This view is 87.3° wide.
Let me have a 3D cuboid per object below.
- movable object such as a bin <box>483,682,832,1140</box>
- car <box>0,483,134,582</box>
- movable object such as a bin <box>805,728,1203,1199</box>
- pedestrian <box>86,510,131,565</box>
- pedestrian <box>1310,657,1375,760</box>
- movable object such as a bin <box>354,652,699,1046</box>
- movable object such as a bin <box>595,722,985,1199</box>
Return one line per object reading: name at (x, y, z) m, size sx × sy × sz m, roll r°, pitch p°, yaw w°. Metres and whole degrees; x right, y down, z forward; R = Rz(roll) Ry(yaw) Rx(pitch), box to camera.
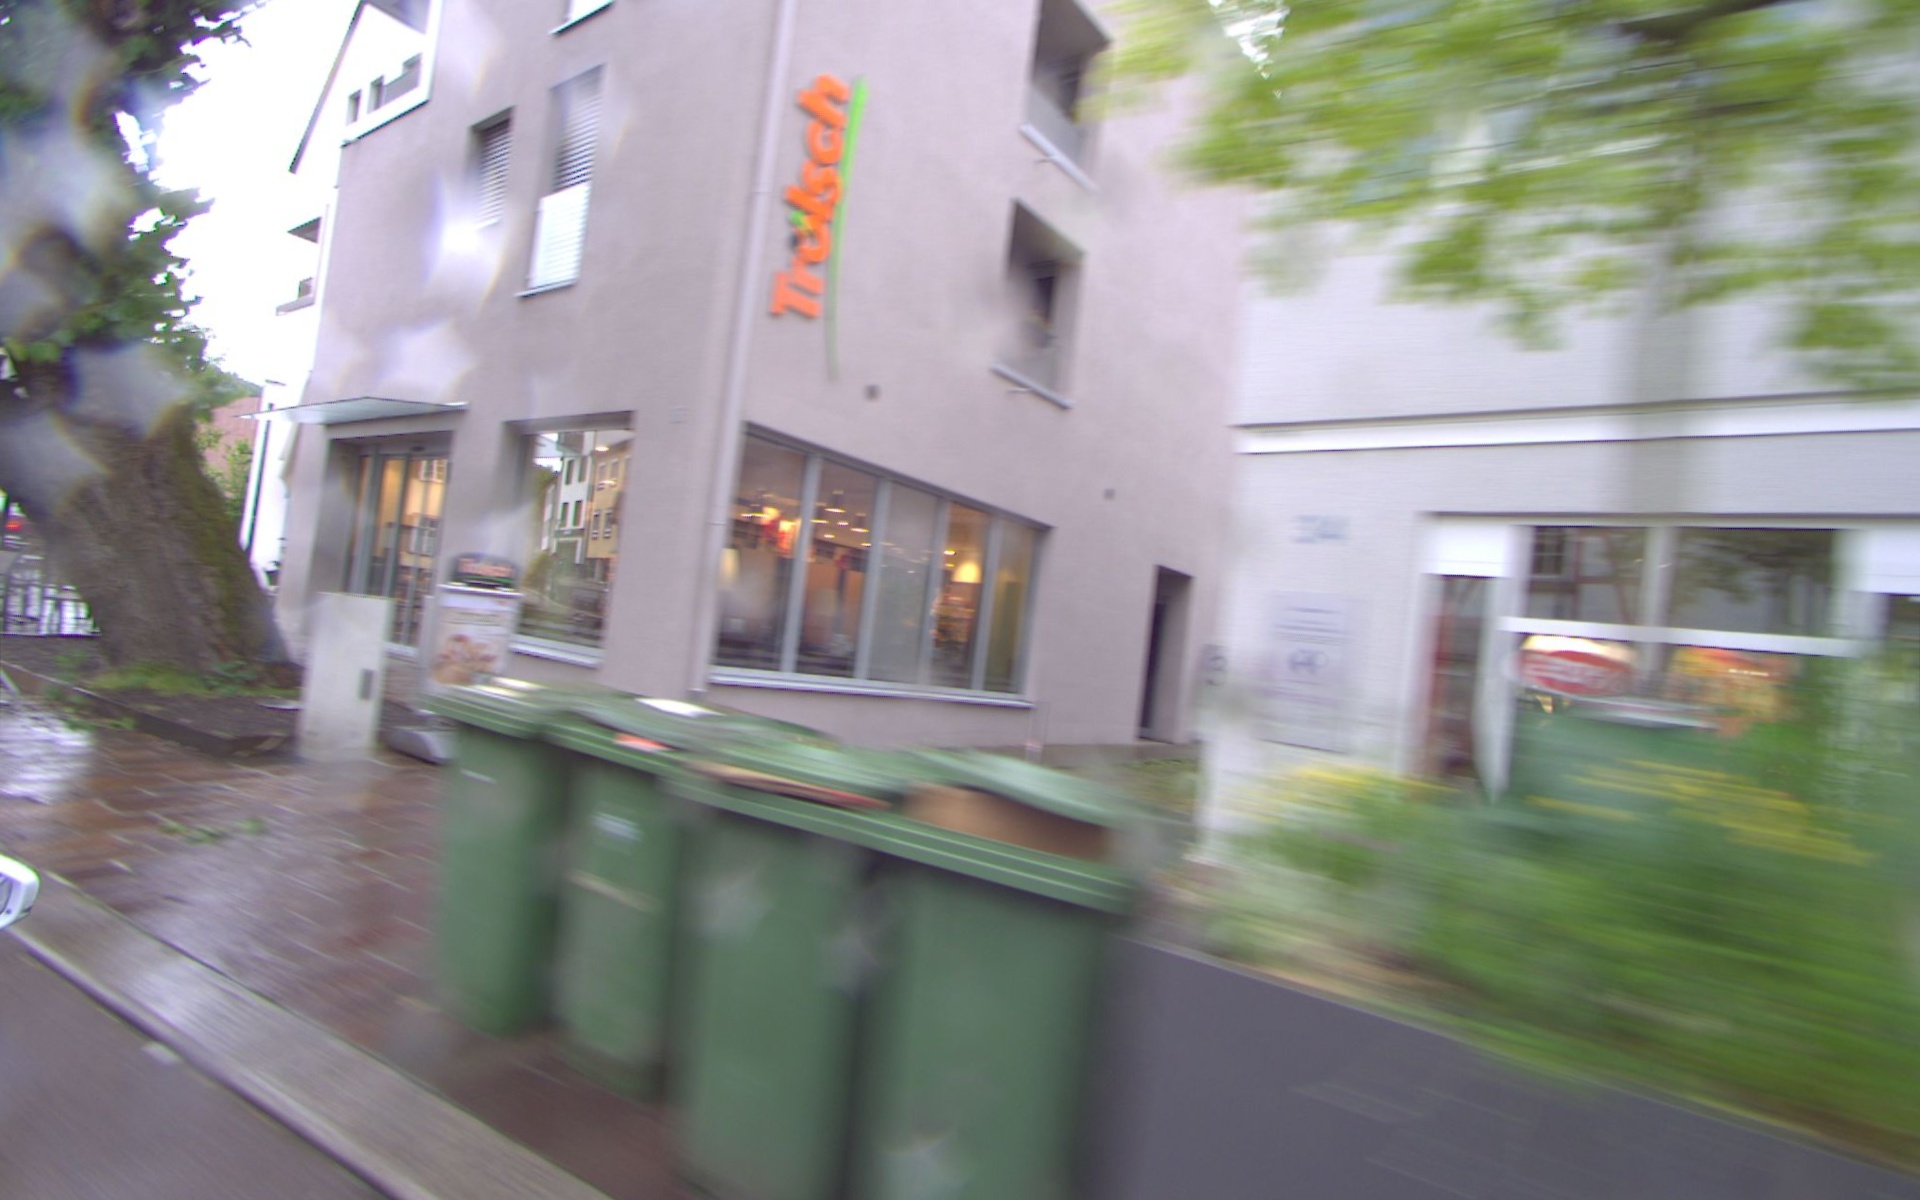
movable object such as a bin at (-0.888, 0.856, 3.042) m, size 0.570 × 1.115 × 0.678 m, roll 5°, pitch -4°, yaw 33°
car at (-21.554, -1.573, 23.273) m, size 1.968 × 1.818 × 3.996 m, roll 8°, pitch -4°, yaw -12°
movable object such as a bin at (0.121, 0.913, 2.272) m, size 0.570 × 1.163 × 0.633 m, roll 5°, pitch -4°, yaw 30°
pedestrian at (-31.315, -2.290, 36.993) m, size 0.755 × 1.862 × 0.900 m, roll 5°, pitch -4°, yaw 36°
pedestrian at (6.893, 1.947, 18.135) m, size 0.707 × 1.734 × 0.679 m, roll 9°, pitch -4°, yaw -37°
movable object such as a bin at (-1.446, 0.779, 3.415) m, size 0.638 × 1.085 × 0.723 m, roll 5°, pitch -4°, yaw 33°
movable object such as a bin at (-0.397, 0.909, 2.529) m, size 0.570 × 1.116 × 0.633 m, roll 5°, pitch -4°, yaw 30°
